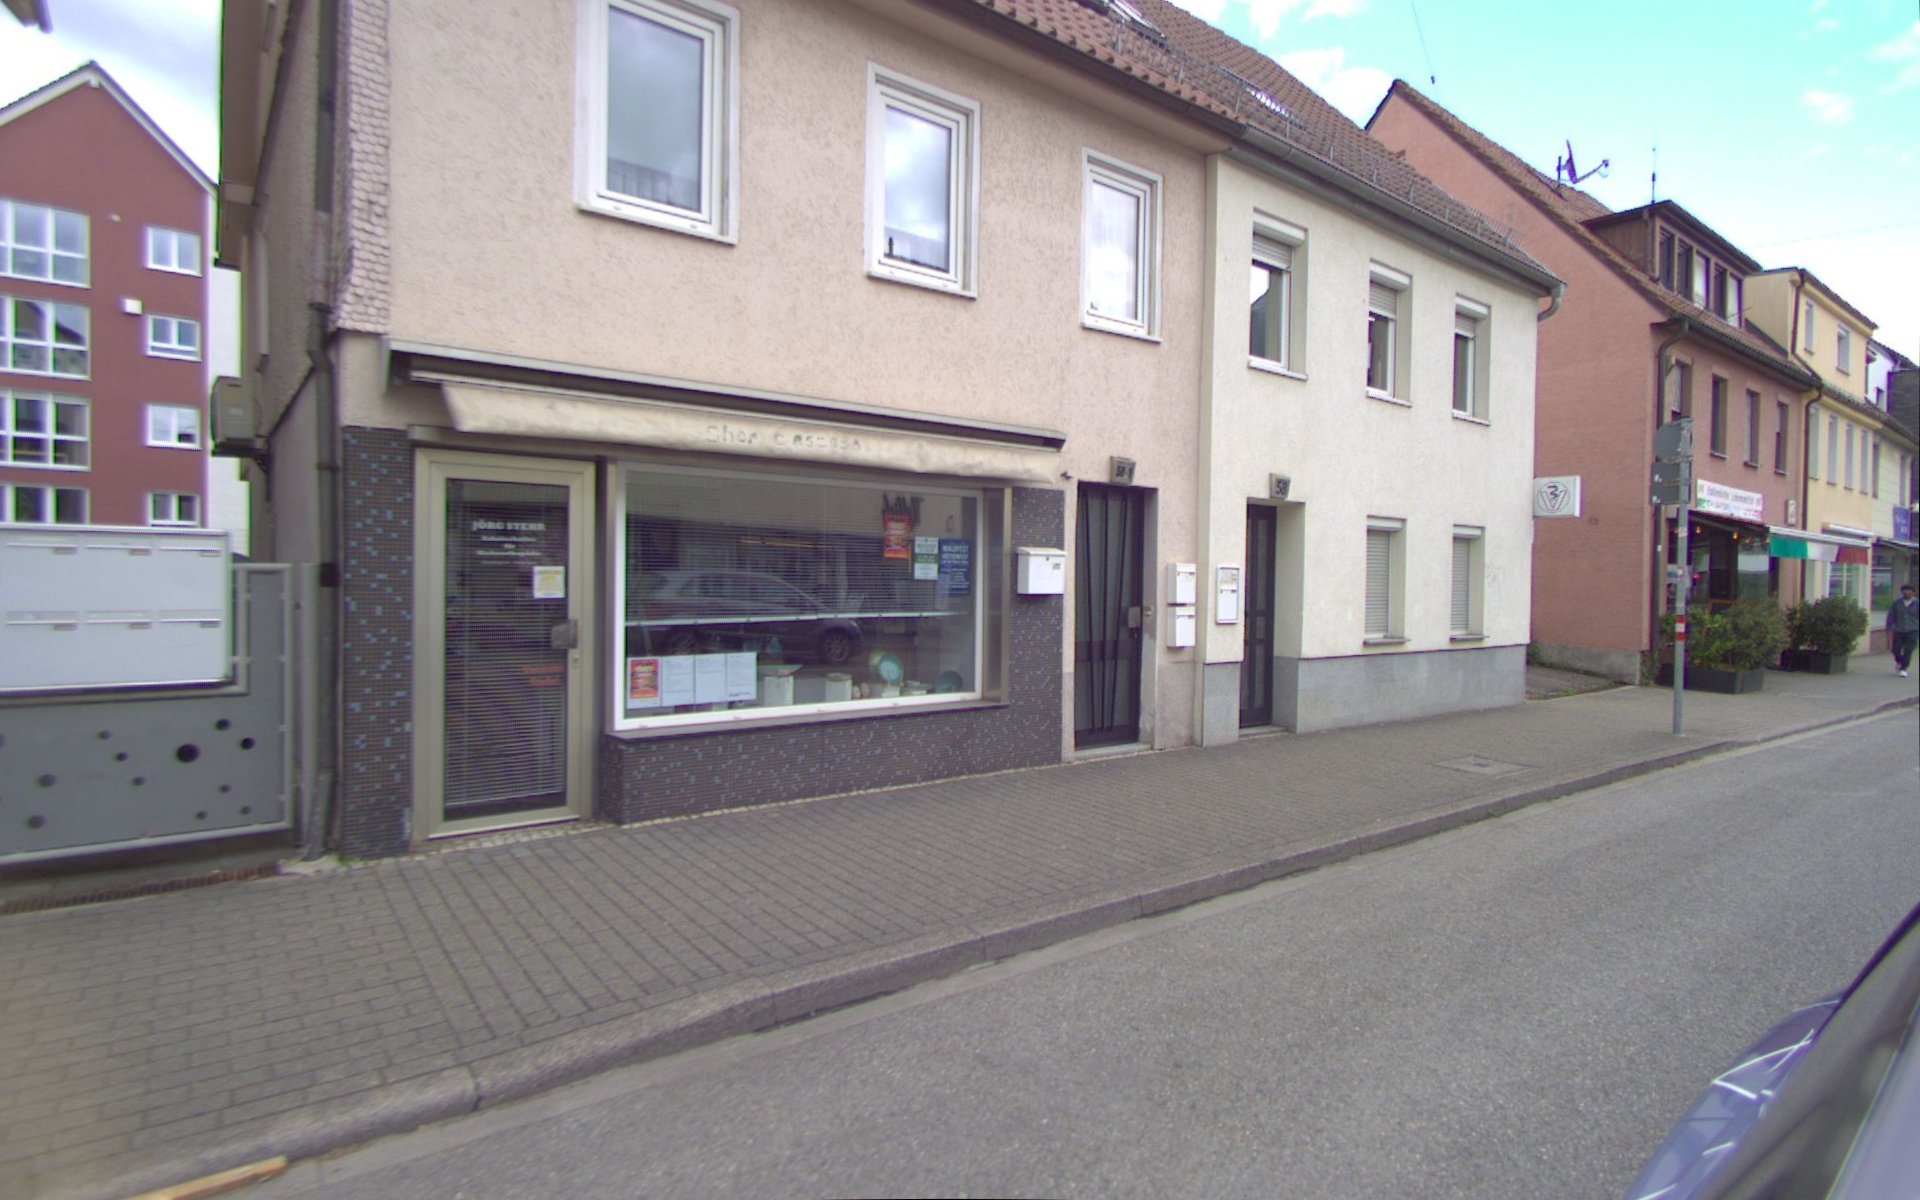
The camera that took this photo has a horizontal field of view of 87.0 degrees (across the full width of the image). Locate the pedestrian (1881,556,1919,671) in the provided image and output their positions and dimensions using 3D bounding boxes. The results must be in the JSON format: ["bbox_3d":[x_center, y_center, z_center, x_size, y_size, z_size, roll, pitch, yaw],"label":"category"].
[{"bbox_3d":[18.192,0.254,19.180,0.993,2.099,0.826,0,5,-41],"label":"pedestrian"}]
